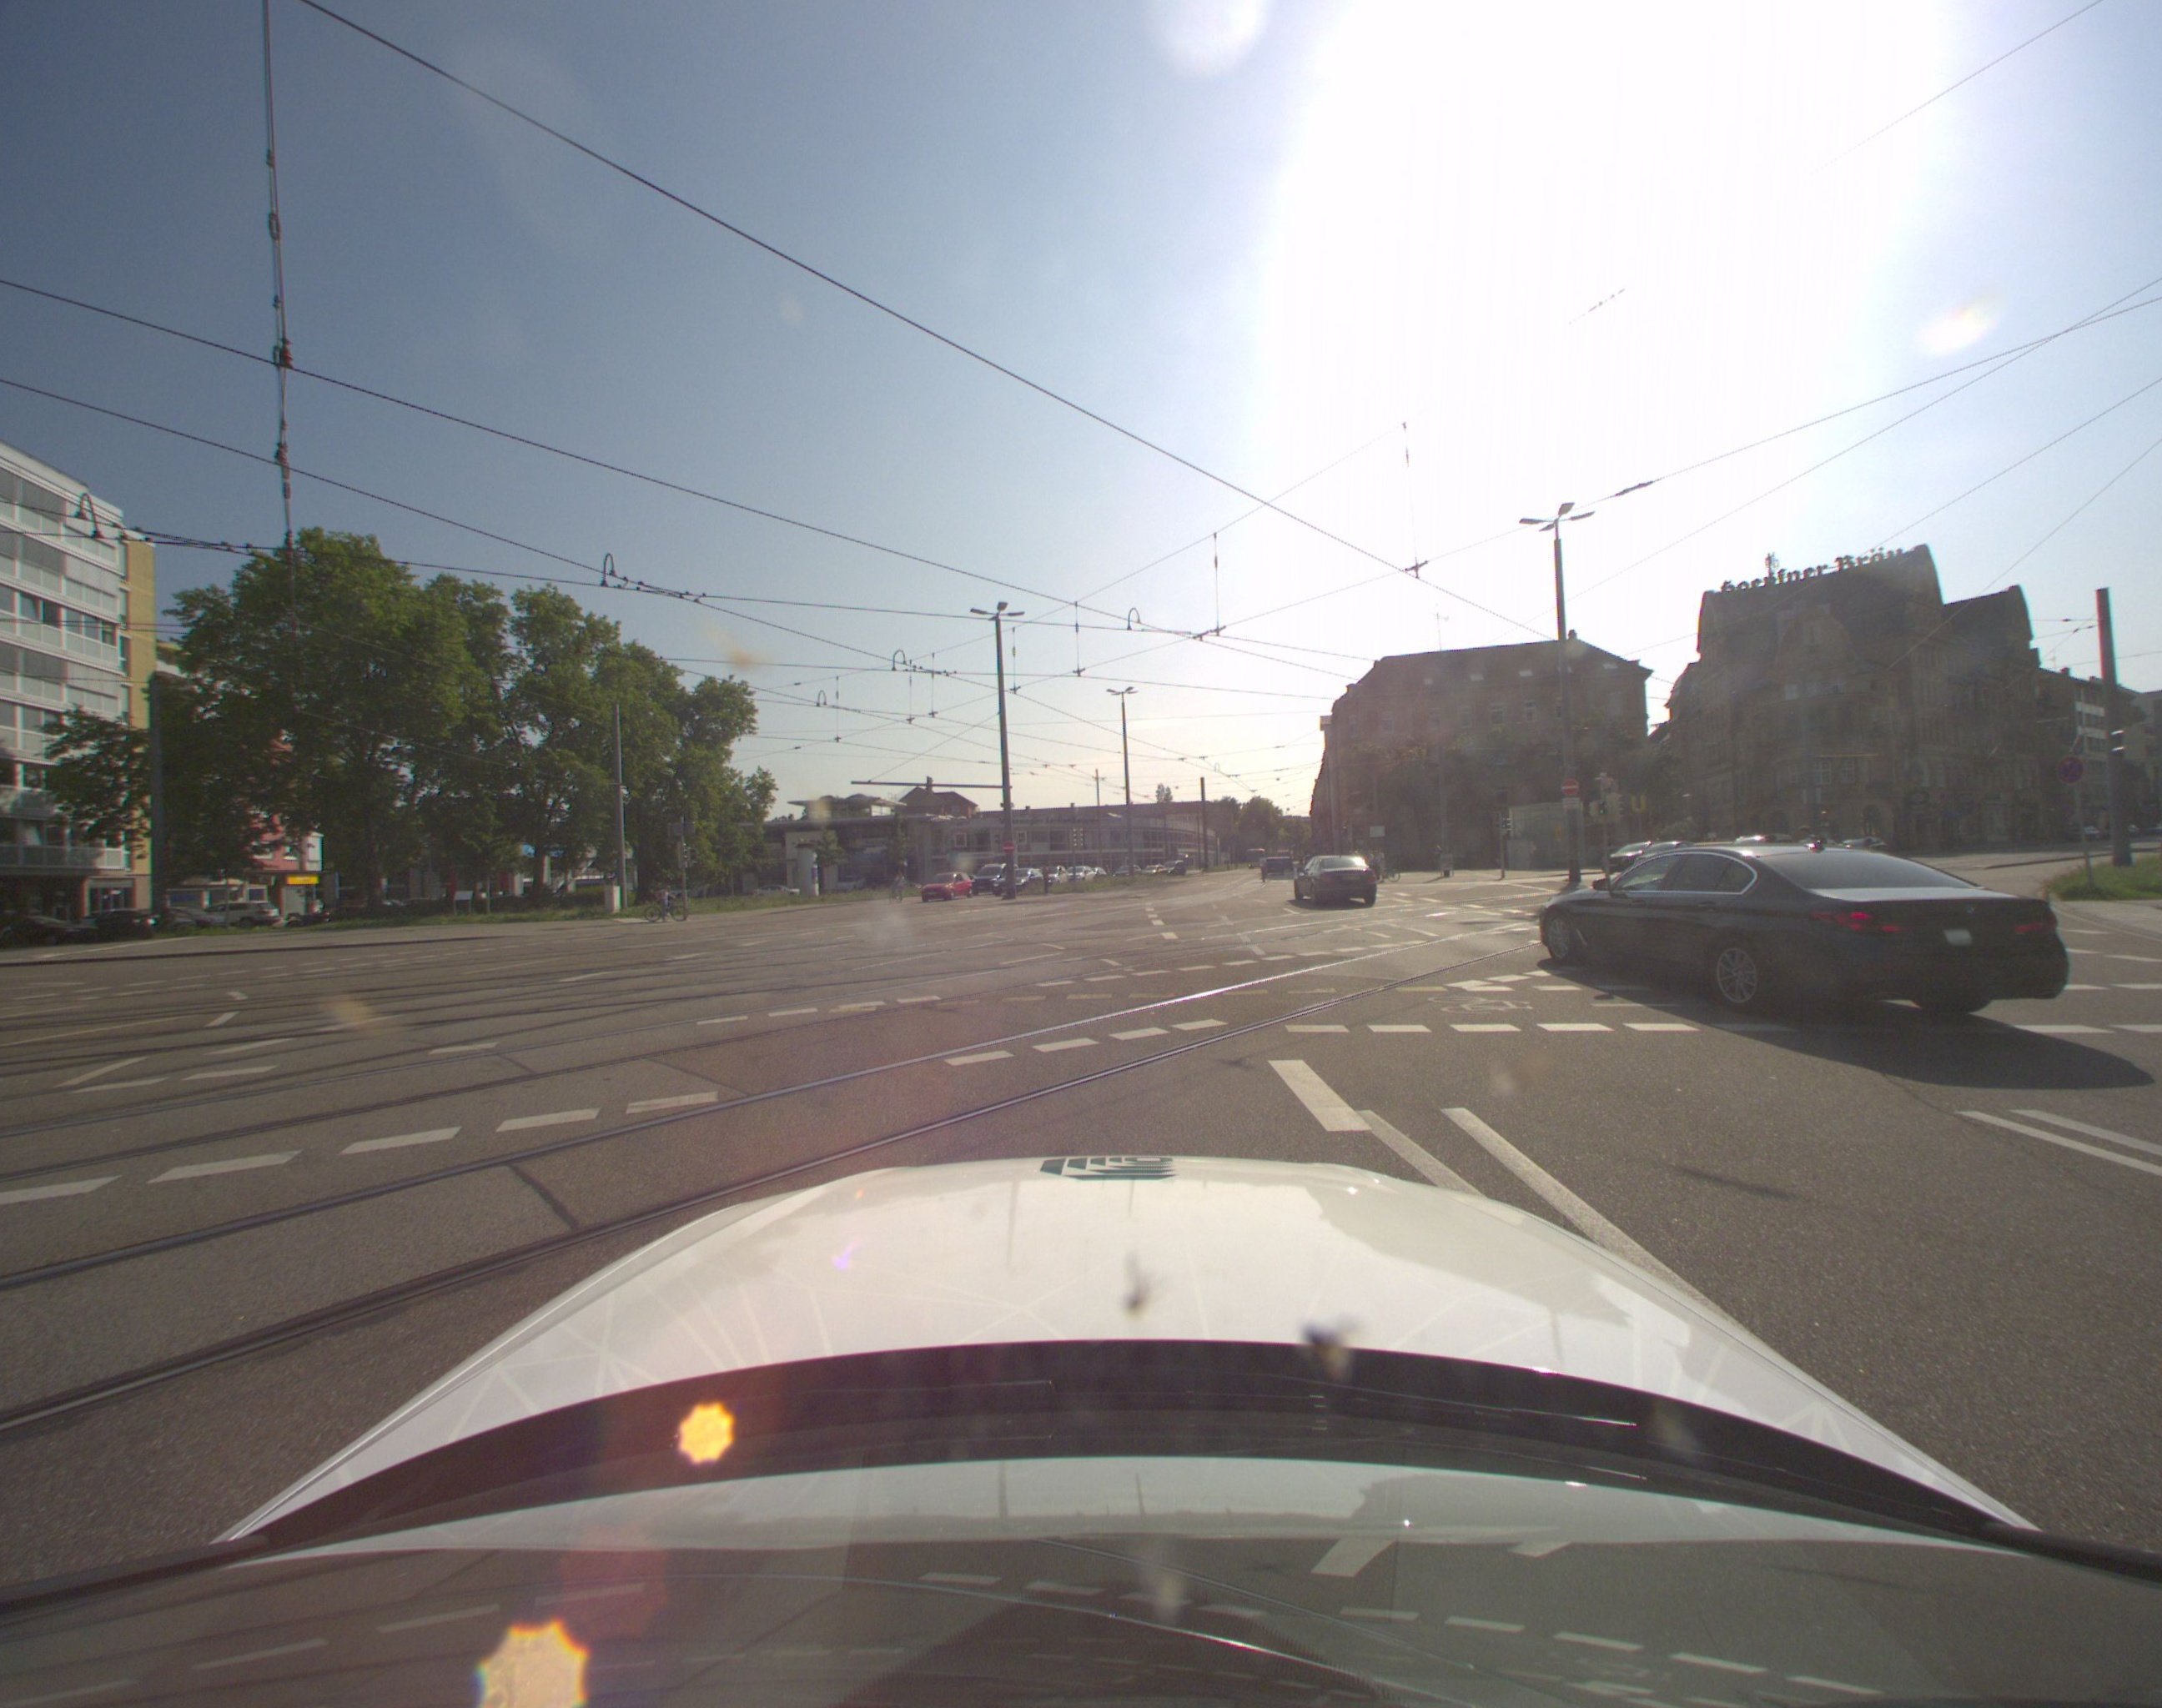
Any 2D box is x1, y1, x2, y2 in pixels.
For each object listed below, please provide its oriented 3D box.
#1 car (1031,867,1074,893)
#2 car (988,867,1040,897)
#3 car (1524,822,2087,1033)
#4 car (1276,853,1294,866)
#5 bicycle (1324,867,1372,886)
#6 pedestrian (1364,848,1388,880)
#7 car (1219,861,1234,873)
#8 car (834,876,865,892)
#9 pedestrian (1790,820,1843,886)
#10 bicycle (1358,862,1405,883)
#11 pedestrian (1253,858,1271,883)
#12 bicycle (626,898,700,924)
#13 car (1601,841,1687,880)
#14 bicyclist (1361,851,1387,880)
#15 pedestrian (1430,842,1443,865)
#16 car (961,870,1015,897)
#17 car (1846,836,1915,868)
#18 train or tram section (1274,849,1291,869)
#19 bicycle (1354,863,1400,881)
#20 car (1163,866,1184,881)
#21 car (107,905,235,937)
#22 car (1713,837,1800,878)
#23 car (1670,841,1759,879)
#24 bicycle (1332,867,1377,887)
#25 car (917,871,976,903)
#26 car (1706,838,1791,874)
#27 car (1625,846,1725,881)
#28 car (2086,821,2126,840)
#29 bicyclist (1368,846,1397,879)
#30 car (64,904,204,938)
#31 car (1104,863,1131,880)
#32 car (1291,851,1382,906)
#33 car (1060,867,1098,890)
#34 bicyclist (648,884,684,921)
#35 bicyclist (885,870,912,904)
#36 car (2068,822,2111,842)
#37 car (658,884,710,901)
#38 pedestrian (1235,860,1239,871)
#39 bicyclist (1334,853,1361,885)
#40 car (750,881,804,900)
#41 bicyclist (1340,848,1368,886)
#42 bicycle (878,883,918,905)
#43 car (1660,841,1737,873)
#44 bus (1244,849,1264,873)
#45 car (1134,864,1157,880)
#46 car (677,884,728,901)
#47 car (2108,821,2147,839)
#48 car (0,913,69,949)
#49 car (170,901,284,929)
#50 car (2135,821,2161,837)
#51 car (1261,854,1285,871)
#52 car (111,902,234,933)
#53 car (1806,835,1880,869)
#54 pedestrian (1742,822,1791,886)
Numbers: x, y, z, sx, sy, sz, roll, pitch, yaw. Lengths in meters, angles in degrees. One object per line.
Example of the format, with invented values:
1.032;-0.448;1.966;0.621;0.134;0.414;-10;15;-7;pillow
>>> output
-1.808;1.625;52.557;1.602;1.476;4.015;-5;-2;14;car
-3.726;1.544;46.155;1.602;1.476;4.015;-5;-2;14;car
6.527;0.557;8.258;1.676;1.492;4.676;-2;-1;3;car
22.840;0.600;91.314;1.812;1.428;4.428;-3;-1;14;car
15.643;1.300;47.720;2.631;0.964;1.084;-2;-1;-25;bicycle
16.907;0.570;46.711;0.933;1.797;0.849;-2;-1;-42;pedestrian
20.693;1.840;115.537;1.602;1.476;4.016;-5;-2;15;car
-23.395;3.031;82.563;1.692;1.522;4.103;-2;-1;3;car
19.484;-0.015;21.599;0.910;1.690;0.931;-3;-2;39;pedestrian
16.146;0.988;43.733;2.639;0.964;1.080;-2;-1;-38;bicycle
11.338;1.015;50.964;0.780;1.503;0.705;-2;-1;-22;pedestrian
-17.752;2.409;34.672;2.604;1.057;0.956;1;-2;-15;bicycle
28.873;0.317;41.741;4.262;1.859;1.892;-1;-1;-29;car
17.736;0.719;49.262;0.938;1.680;1.084;-2;-1;-25;bicyclist
23.511;-0.010;53.867;0.540;1.471;0.672;-4;-2;45;pedestrian
-5.767;1.826;50.923;1.946;1.476;4.015;-5;-2;14;car
49.534;-0.142;50.436;4.125;1.859;1.914;-1;-1;-29;car
40.060;0.906;162.158;2.638;3.699;10.620;-3;-1;11;train or tram section
17.925;1.080;49.345;2.631;0.964;1.084;-2;-1;-25;bicycle
10.213;2.123;90.189;1.602;1.476;4.016;-5;-2;15;car
-47.168;3.454;42.307;4.170;1.354;1.567;-2;-1;-20;car
33.657;0.161;40.561;4.079;1.859;1.893;-1;-1;-29;car
34.082;0.294;43.795;4.719;1.859;1.893;-2;-1;-27;car
15.275;1.278;45.437;2.639;0.964;1.080;-2;-1;-38;bicycle
-7.188;1.752;43.911;1.602;1.476;4.015;-5;-2;14;car
37.507;0.089;45.731;4.677;1.859;2.026;-1;-1;-29;car
27.248;0.432;37.371;4.400;1.397;2.004;-2;-1;-29;car
107.604;-2.516;85.514;4.125;1.859;1.914;-1;-1;-29;car
16.200;0.469;43.797;0.941;1.708;1.080;-2;-1;-38;bicyclist
-45.948;3.218;39.608;4.170;1.354;1.567;-2;-1;-20;car
3.488;1.615;76.798;1.602;1.476;4.016;-5;-2;15;car
7.570;0.709;24.566;1.674;1.442;4.378;-3;-1;5;car
-0.119;1.714;57.895;1.602;1.476;4.016;-5;-2;15;car
-17.668;2.056;34.710;1.164;1.527;0.956;0;-2;-15;bicyclist
-9.912;1.788;44.183;0.950;1.749;1.171;-2;-1;15;bicyclist
101.045;-2.248;81.597;4.125;1.859;1.914;-1;-1;-29;car
-40.715;3.944;83.572;1.683;1.522;4.543;-3;-1;30;car
23.974;1.742;125.068;0.590;1.630;0.640;-2;-1;16;pedestrian
15.612;0.879;47.718;0.938;1.800;1.084;-2;-1;-25;bicyclist
-26.986;3.221;72.430;4.068;1.522;1.707;-2;-1;4;car
15.216;0.735;45.422;0.941;2.024;1.080;-2;-1;-38;bicyclist
-9.890;2.148;44.216;0.950;1.057;2.619;-2;-1;15;bicycle
39.645;0.195;52.280;4.276;1.859;1.918;-2;-1;-22;car
28.585;1.210;135.196;2.901;3.619;16.798;-2;-1;11;bus
6.670;1.875;83.875;1.602;1.476;4.016;-5;-2;15;car
-38.438;3.861;82.861;1.683;1.522;4.543;-3;-1;30;car
114.775;-2.632;89.324;4.125;1.859;1.914;-1;-1;-29;car
-45.239;3.256;33.615;4.170;1.354;1.471;-2;-1;-20;car
-48.805;3.466;46.636;4.170;1.354;1.567;-2;-1;-20;car
133.127;-3.099;101.222;4.125;1.859;1.914;-1;-1;-29;car
17.220;0.736;73.065;1.811;1.428;4.431;-3;-1;16;car
-48.887;3.410;43.915;4.170;1.354;1.567;-2;-1;-20;car
45.137;-0.099;48.236;4.148;1.859;1.960;-1;-1;-29;car
18.898;0.001;22.482;0.910;1.690;0.843;-3;-2;36;pedestrian
